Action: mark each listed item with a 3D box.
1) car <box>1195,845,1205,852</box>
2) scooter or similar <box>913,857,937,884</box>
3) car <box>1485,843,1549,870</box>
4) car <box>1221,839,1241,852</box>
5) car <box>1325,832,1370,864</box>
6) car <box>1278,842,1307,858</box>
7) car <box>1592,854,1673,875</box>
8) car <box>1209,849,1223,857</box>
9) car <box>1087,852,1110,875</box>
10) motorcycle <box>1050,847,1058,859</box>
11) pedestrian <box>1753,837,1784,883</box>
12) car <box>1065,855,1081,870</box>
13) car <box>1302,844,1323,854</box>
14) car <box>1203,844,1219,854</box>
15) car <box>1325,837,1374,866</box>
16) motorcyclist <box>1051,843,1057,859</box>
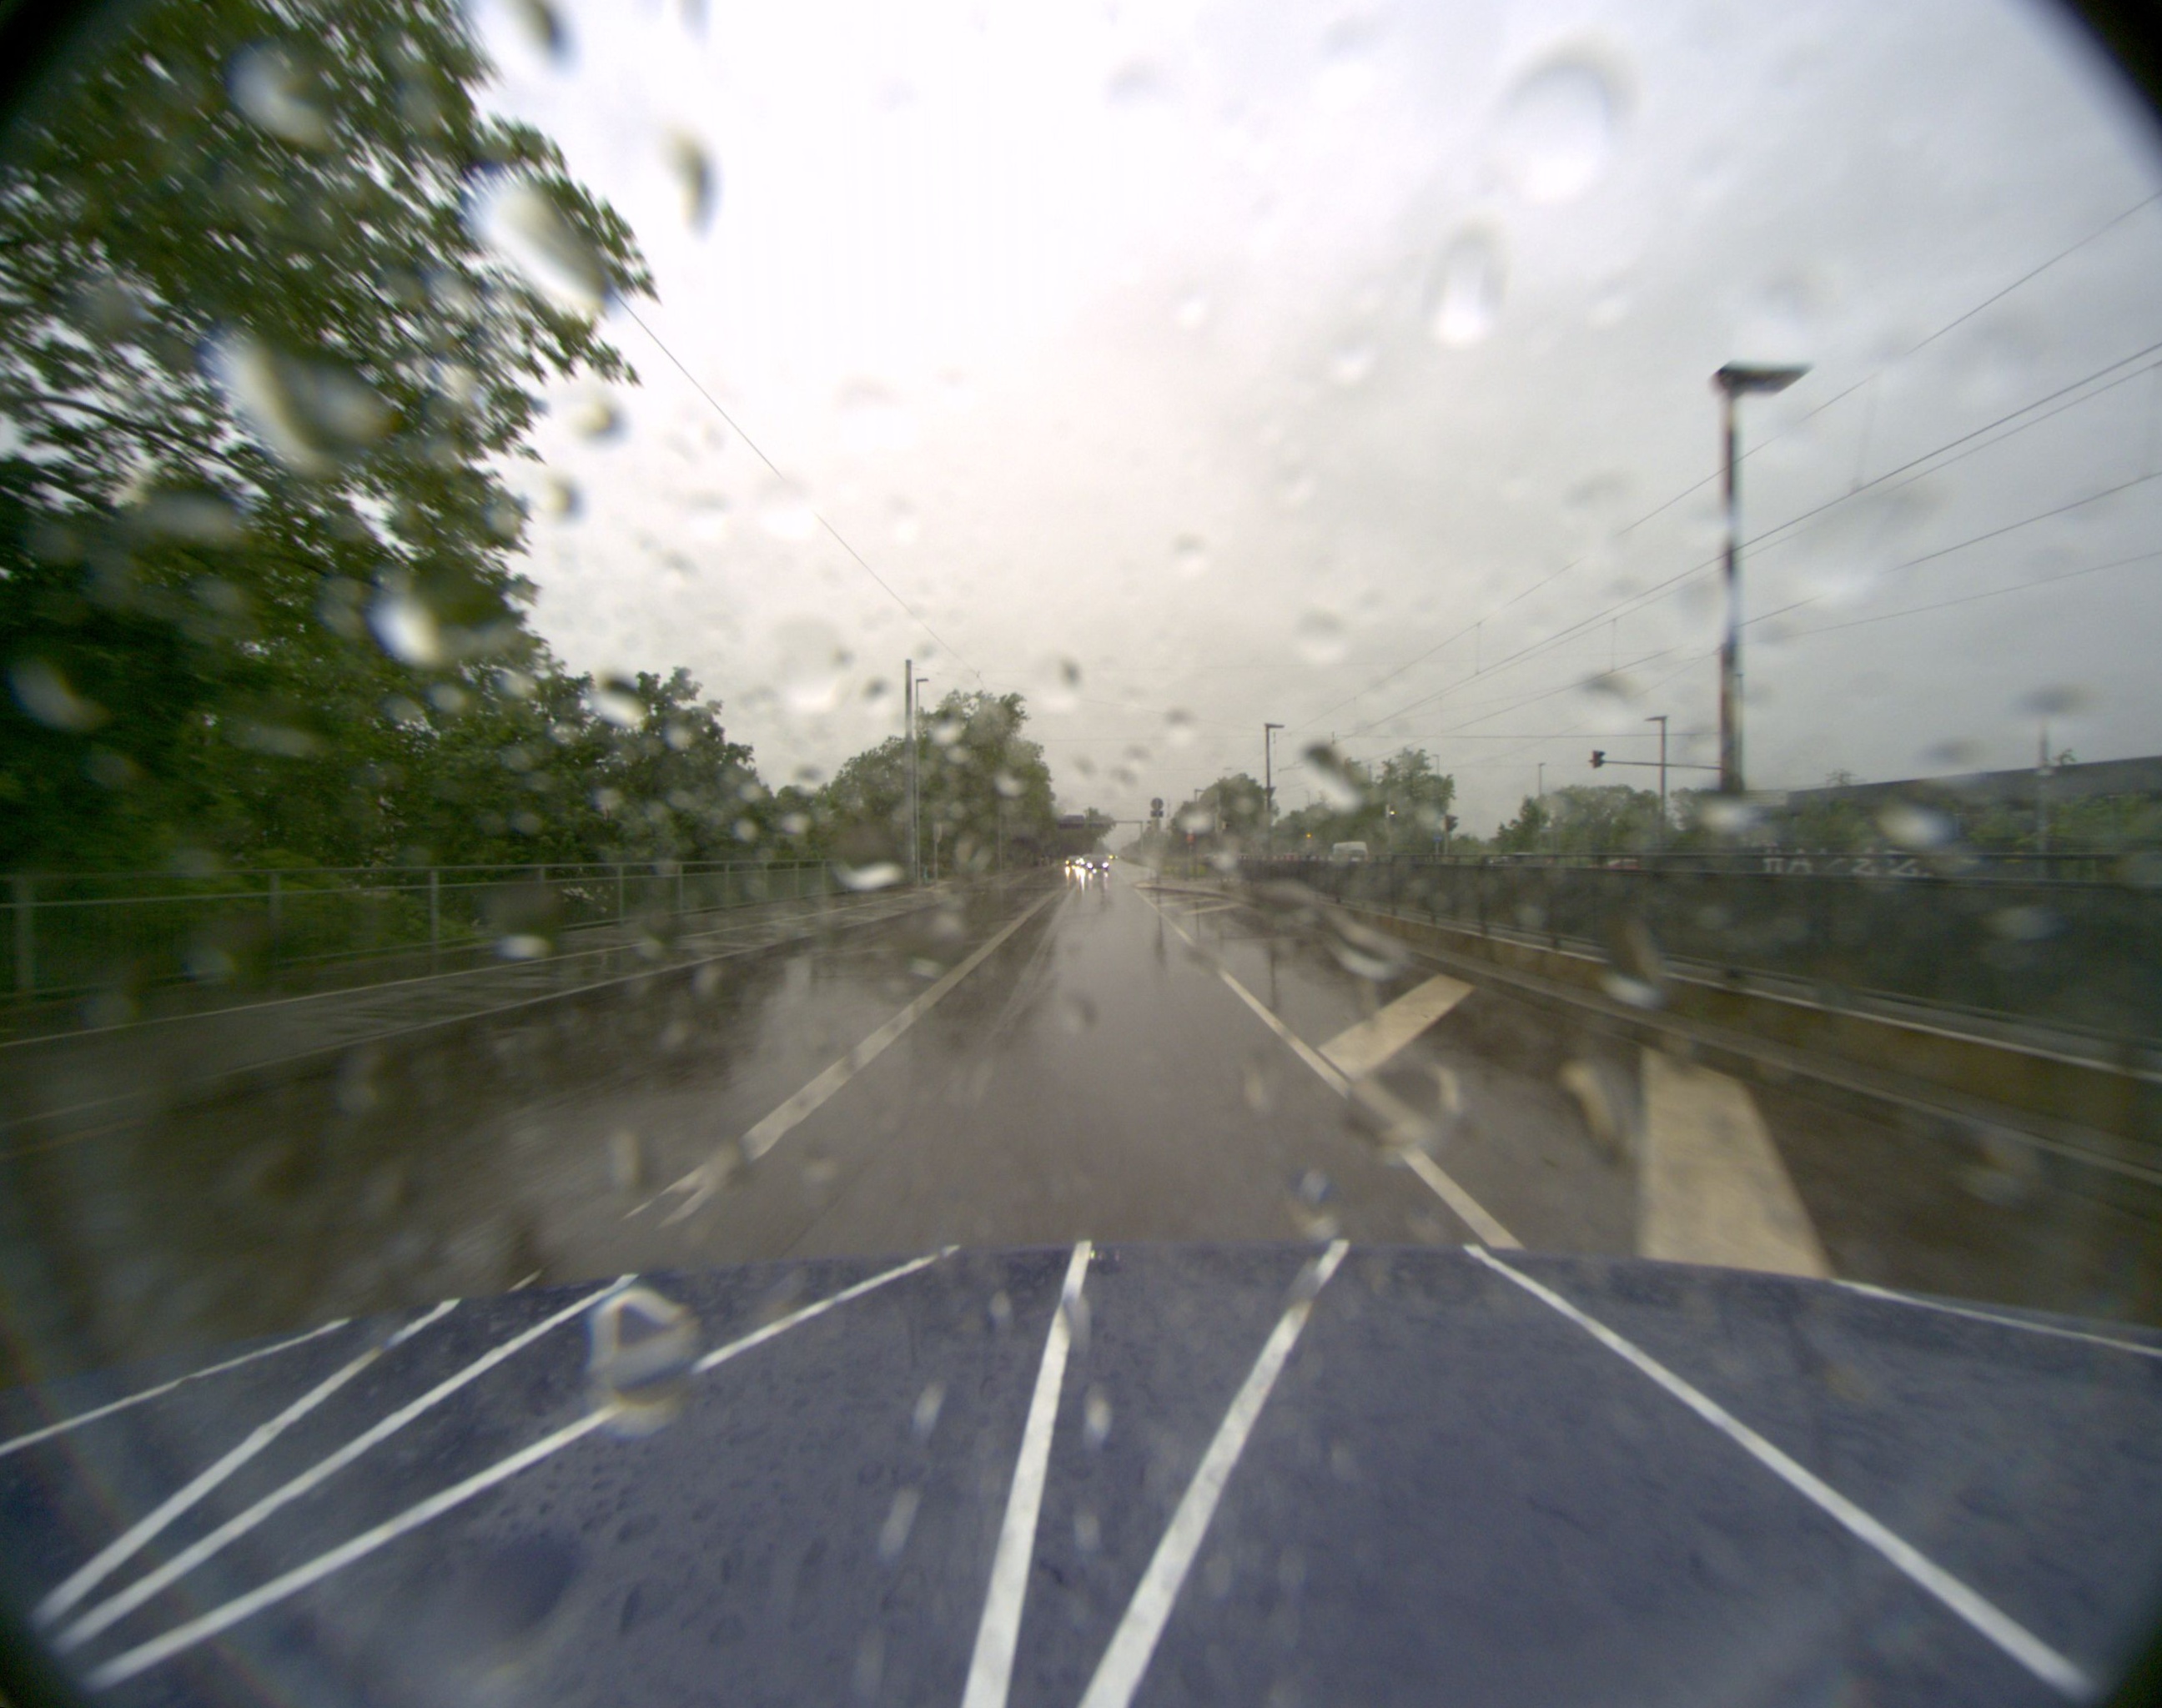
[{"bbox_3d":[25.481,-1.188,162.342,1.605,1.580,3.619,-2,1,2],"label":"car"},{"bbox_3d":[-7.905,0.827,38.591,0.761,1.285,1.647,-1,1,4],"label":"scooter or similar"},{"bbox_3d":[32.906,0.179,57.459,3.991,1.849,2.003,-1,1,22],"label":"car"},{"bbox_3d":[20.897,-1.180,106.147,1.998,1.761,4.258,-2,1,2],"label":"car"},{"bbox_3d":[23.722,-0.521,67.853,2.125,2.697,5.738,-2,1,2],"label":"car"},{"bbox_3d":[23.686,-0.474,85.287,1.998,1.697,4.625,-2,1,2],"label":"car"},{"bbox_3d":[40.652,0.770,56.113,4.368,1.434,2.001,0,1,9],"label":"car"},{"bbox_3d":[24.904,-0.160,140.257,1.998,1.477,4.298,-1,1,1],"label":"car"},{"bbox_3d":[1.658,0.871,71.531,1.998,2.002,4.000,-1,1,2],"label":"car"},{"bbox_3d":[-3.695,-0.140,103.976,0.845,1.710,2.586,-2,1,2],"label":"motorcycle"},{"bbox_3d":[30.329,0.256,33.526,0.700,2.002,0.697,-1,1,2],"label":"pedestrian"},{"bbox_3d":[-1.044,1.115,101.690,1.999,2.002,3.999,-1,1,-2],"label":"car"},{"bbox_3d":[40.184,-0.880,131.784,1.994,1.671,4.548,-1,1,36],"label":"car"},{"bbox_3d":[21.625,-0.848,126.253,1.998,1.587,4.381,3,1,2],"label":"car"},{"bbox_3d":[19.945,-0.191,56.726,1.998,2.002,4.753,-2,1,1],"label":"car"},{"bbox_3d":[-3.719,-0.410,103.836,0.762,2.246,0.916,-2,2,2],"label":"motorcyclist"}]
